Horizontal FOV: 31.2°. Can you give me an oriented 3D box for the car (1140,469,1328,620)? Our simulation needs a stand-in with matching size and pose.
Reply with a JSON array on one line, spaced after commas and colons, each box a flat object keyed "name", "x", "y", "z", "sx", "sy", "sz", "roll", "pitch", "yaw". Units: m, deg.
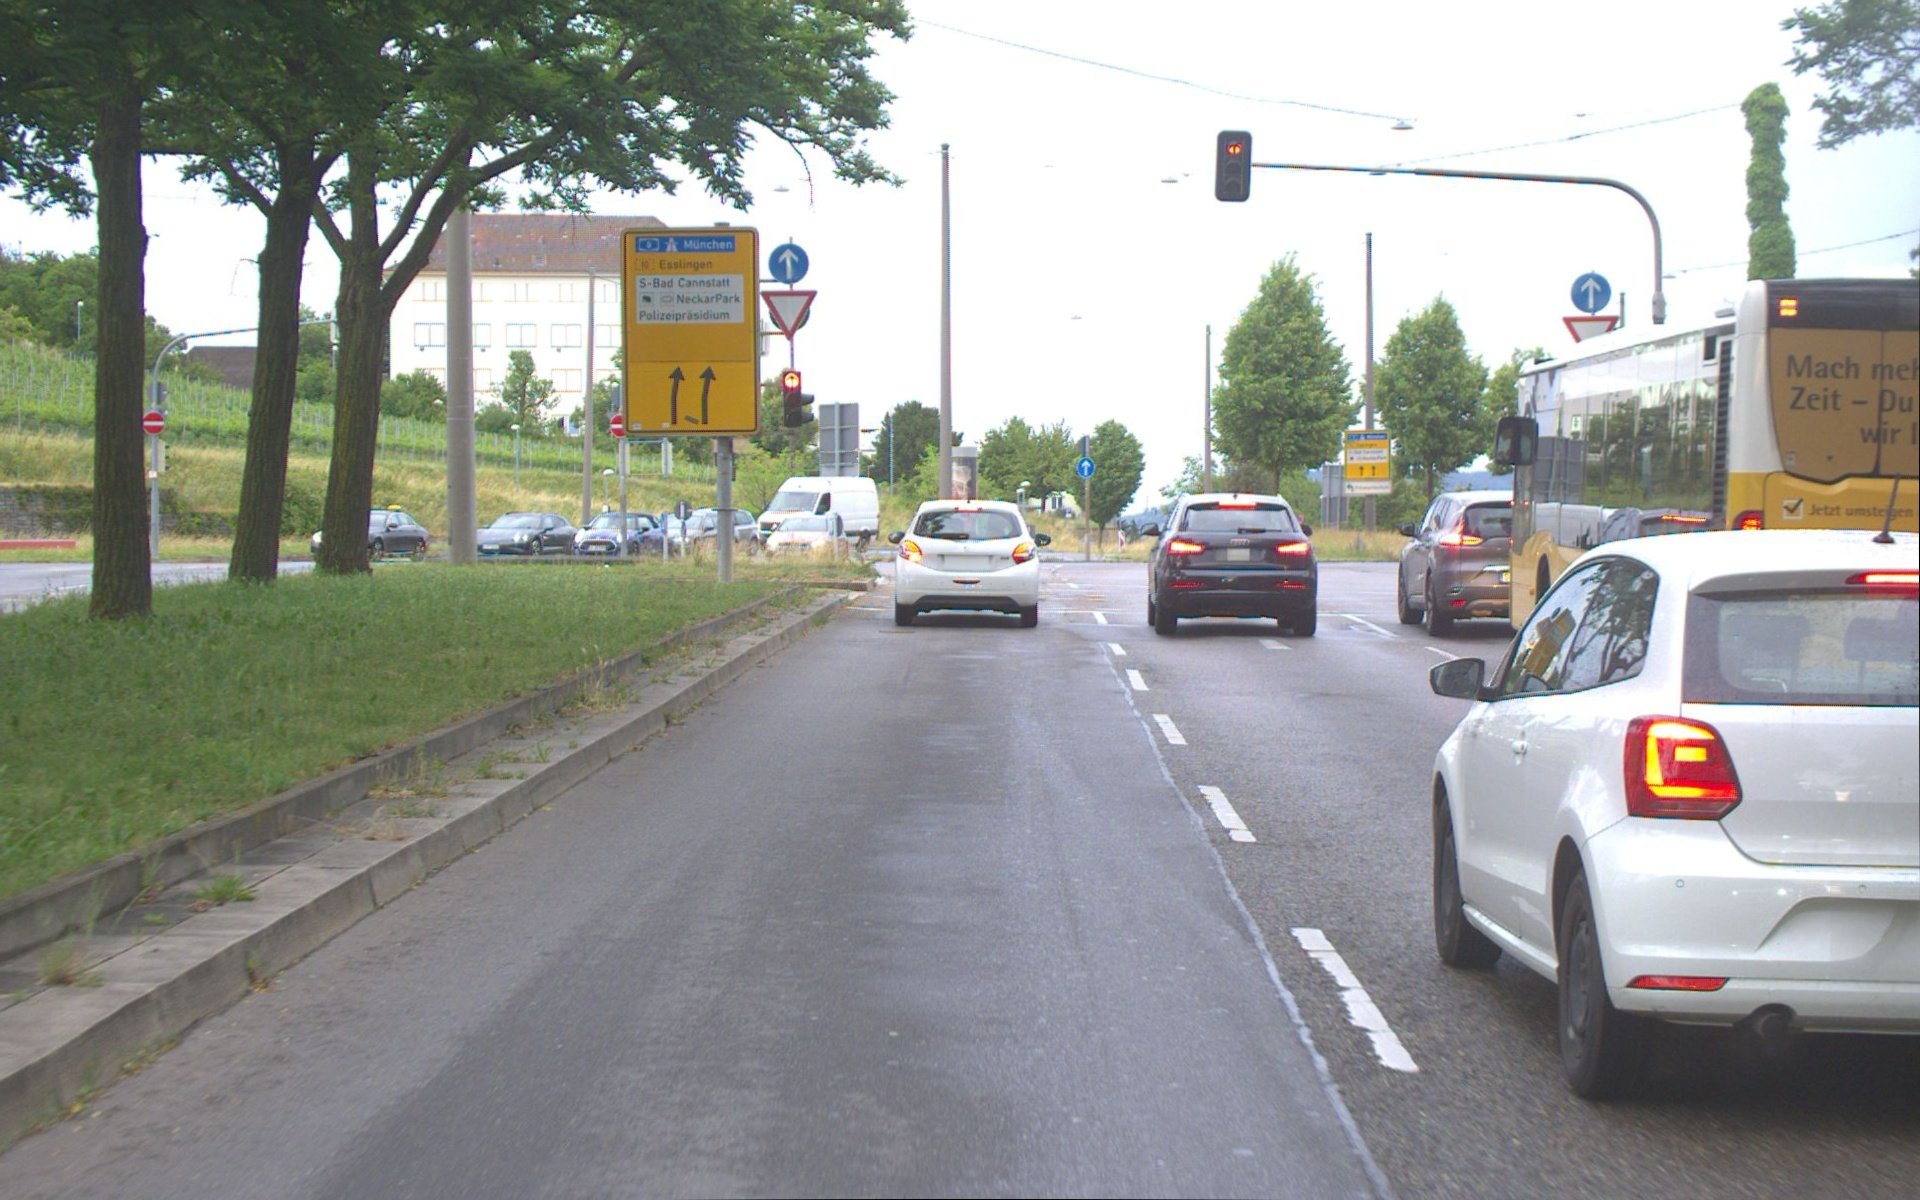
[{"name": "car", "x": 3.097, "y": -0.643, "z": 39.600, "sx": 1.884, "sy": 1.590, "sz": 4.113, "roll": 2, "pitch": 1, "yaw": 1}]

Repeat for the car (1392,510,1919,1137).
[{"name": "car", "x": 2.371, "y": 0.498, "z": 9.857, "sx": 1.741, "sy": 1.427, "sz": 3.812, "roll": 2, "pitch": 1, "yaw": 0}]

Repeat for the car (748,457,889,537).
[{"name": "car", "x": -4.867, "y": -3.540, "z": 119.128, "sx": 1.997, "sy": 2.550, "sz": 6.160, "roll": 2, "pitch": 1, "yaw": 28}]

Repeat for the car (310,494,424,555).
[{"name": "car", "x": -16.577, "y": -2.104, "z": 96.327, "sx": 1.830, "sy": 1.618, "sz": 4.565, "roll": 2, "pitch": 1, "yaw": 8}]

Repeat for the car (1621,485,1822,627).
[{"name": "car", "x": 8.766, "y": -0.490, "z": 39.331, "sx": 1.867, "sy": 1.492, "sz": 4.148, "roll": 2, "pitch": 1, "yaw": 17}]

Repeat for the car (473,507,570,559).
[{"name": "car", "x": -12.462, "y": -1.895, "z": 97.903, "sx": 1.787, "sy": 1.391, "sz": 3.881, "roll": 2, "pitch": 0, "yaw": 7}]

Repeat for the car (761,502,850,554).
[{"name": "car", "x": -4.307, "y": -2.011, "z": 96.355, "sx": 1.776, "sy": 1.420, "sz": 4.373, "roll": 0, "pitch": 1, "yaw": 7}]

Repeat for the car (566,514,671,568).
[{"name": "car", "x": -9.499, "y": -1.632, "z": 95.778, "sx": 1.787, "sy": 1.391, "sz": 3.880, "roll": 2, "pitch": 0, "yaw": 12}]

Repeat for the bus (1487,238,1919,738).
[{"name": "bus", "x": 6.444, "y": -0.907, "z": 27.959, "sx": 2.727, "sy": 3.141, "sz": 12.146, "roll": 2, "pitch": 2, "yaw": 2}]

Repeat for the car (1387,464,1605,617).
[{"name": "car", "x": 6.246, "y": -0.753, "z": 40.514, "sx": 1.865, "sy": 1.668, "sz": 4.566, "roll": 1, "pitch": 2, "yaw": 1}]

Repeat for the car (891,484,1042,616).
[{"name": "car", "x": 0.118, "y": -0.613, "z": 41.332, "sx": 1.718, "sy": 1.484, "sz": 4.000, "roll": 1, "pitch": 1, "yaw": 1}]
